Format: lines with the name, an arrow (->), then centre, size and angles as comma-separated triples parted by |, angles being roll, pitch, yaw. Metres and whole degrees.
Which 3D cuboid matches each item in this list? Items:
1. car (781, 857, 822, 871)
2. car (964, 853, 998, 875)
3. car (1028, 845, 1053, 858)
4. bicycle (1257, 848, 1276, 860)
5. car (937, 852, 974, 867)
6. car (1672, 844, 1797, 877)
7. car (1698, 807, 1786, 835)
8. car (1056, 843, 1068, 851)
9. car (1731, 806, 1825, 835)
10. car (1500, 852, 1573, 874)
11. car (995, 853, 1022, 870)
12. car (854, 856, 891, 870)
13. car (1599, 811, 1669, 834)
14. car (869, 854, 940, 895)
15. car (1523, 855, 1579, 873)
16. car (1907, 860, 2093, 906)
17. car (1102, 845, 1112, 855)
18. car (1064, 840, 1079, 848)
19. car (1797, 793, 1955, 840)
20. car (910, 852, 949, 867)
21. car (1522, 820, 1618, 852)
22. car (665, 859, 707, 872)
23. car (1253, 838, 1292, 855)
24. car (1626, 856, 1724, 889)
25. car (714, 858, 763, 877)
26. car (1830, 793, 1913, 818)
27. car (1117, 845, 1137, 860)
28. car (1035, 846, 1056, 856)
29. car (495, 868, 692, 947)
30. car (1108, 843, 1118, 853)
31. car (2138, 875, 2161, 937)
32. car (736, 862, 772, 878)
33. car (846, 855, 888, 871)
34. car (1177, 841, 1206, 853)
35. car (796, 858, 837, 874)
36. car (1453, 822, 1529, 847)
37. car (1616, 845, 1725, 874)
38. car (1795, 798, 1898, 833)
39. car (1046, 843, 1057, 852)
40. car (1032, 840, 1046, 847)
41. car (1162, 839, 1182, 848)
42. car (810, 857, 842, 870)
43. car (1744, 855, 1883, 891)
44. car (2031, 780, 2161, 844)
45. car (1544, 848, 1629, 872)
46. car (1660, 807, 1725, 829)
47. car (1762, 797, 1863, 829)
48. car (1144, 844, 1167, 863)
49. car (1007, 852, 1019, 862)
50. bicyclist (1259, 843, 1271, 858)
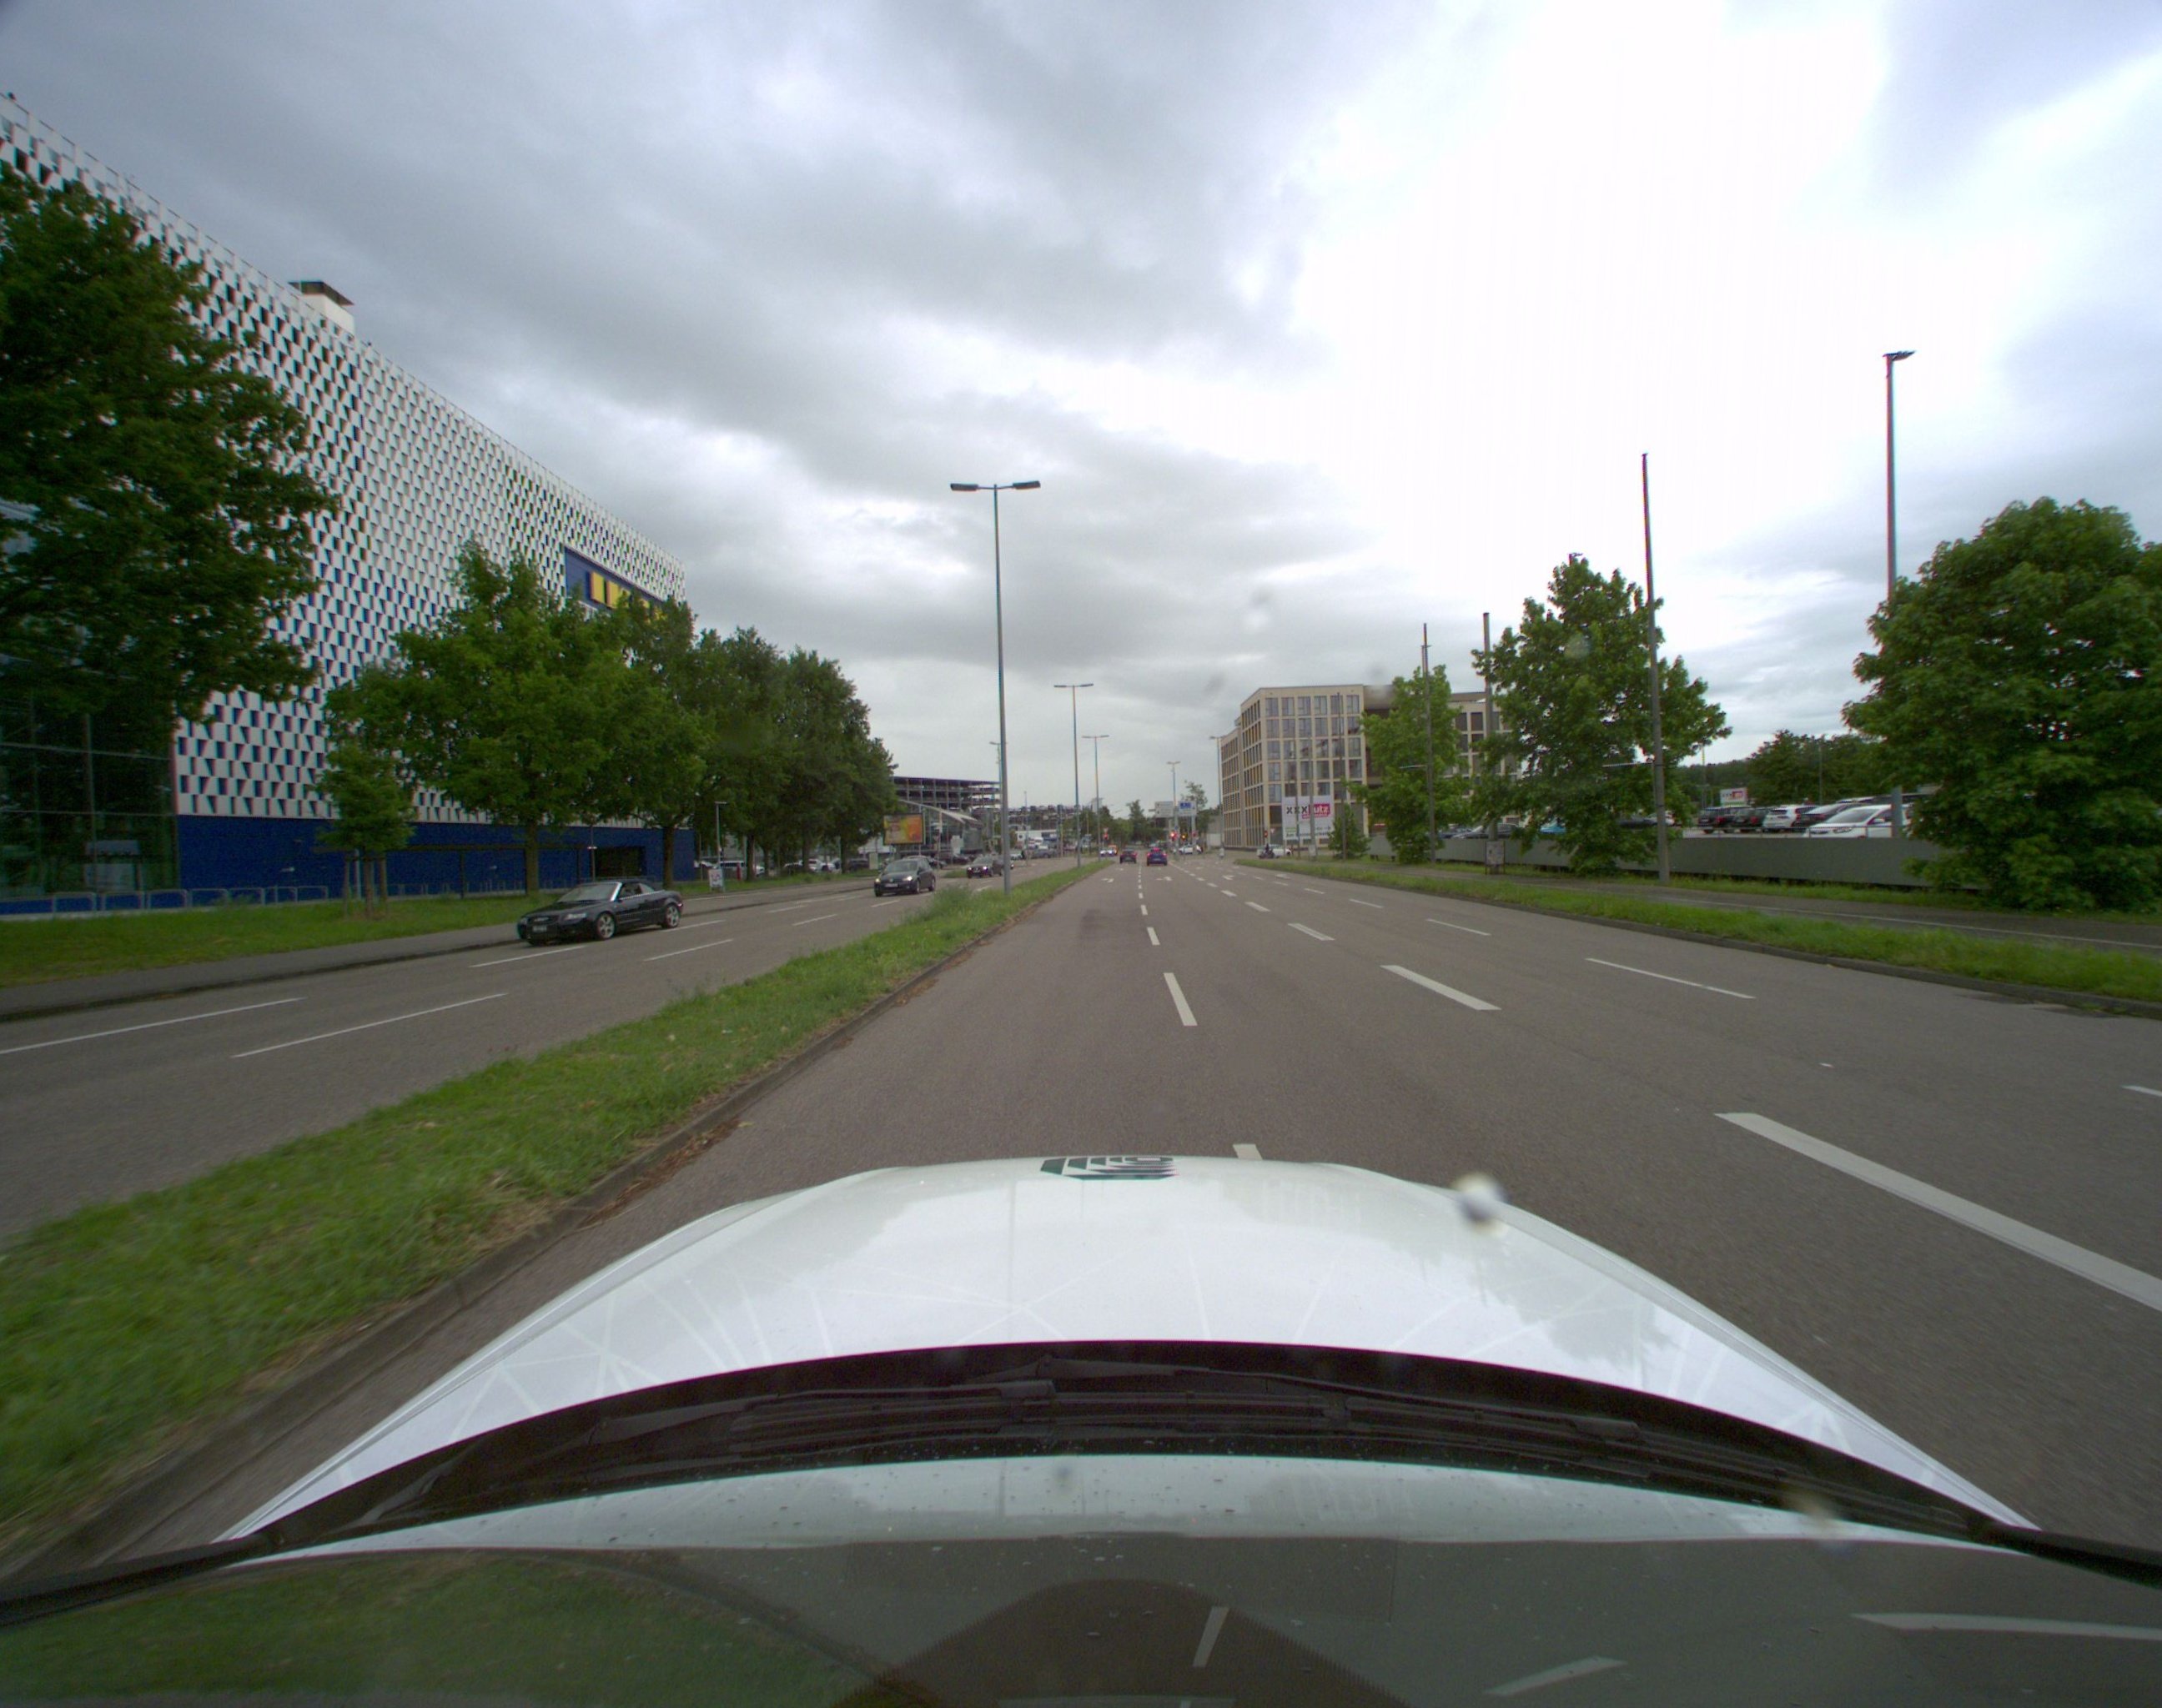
car -> -34.097, 1.168, 99.385 | 4.215, 1.512, 1.994 | -2, 1, -1
car -> -7.017, 0.695, 57.336 | 1.926, 1.455, 4.180 | -2, 0, -1
car -> -6.470, -0.424, 130.055 | 3.976, 1.790, 1.846 | -2, 2, -2
bicycle -> 19.596, 0.000, 85.988 | 0.705, 1.295, 1.990 | -2, 1, -33
car -> -16.416, 0.687, 106.676 | 4.391, 1.643, 1.999 | -2, 2, -2
car -> 24.532, 0.254, 30.649 | 3.500, 1.131, 1.456 | -1, 0, 2
car -> 40.420, -1.993, 49.837 | 3.824, 1.507, 1.787 | -2, 1, 6
car -> -4.099, -1.496, 174.079 | 1.766, 1.705, 3.926 | -2, 2, 8
car -> 40.366, -1.918, 47.216 | 3.824, 1.507, 1.787 | -2, 1, 6
car -> 31.286, 0.617, 56.048 | 4.038, 1.350, 1.765 | -1, 0, 2
car -> -7.161, 0.697, 80.387 | 1.782, 1.479, 4.538 | -4, 0, 5
car -> -26.402, 1.146, 103.309 | 4.239, 1.509, 1.998 | -2, 2, -4
car -> 40.520, -2.275, 59.750 | 3.824, 1.507, 1.787 | -2, 1, 6
car -> -7.307, 0.793, 34.116 | 1.773, 1.455, 4.185 | -4, 0, 2
car -> 37.510, 0.793, 65.097 | 3.604, 1.285, 1.461 | -2, 2, 4
car -> 29.816, 0.921, 26.509 | 4.040, 1.350, 1.764 | -1, 0, 0
car -> 4.269, -0.708, 133.415 | 1.593, 1.453, 3.328 | -2, 2, 4
car -> -2.145, -2.355, 183.903 | 3.284, 1.640, 1.480 | -2, 2, 0
car -> 24.729, -1.158, 25.400 | 3.505, 1.307, 1.605 | -2, 2, -3
car -> -18.564, 0.639, 99.757 | 4.407, 1.660, 1.997 | -2, 0, -4
car -> 25.919, -0.953, 43.242 | 4.056, 1.524, 1.811 | -2, 2, -2
car -> -49.816, 1.442, 102.746 | 4.215, 1.504, 1.994 | -2, 1, -1
car -> 21.903, -0.836, 92.917 | 4.196, 1.752, 1.979 | -2, 0, -33
car -> 35.555, 1.064, 48.850 | 4.347, 1.832, 2.002 | -1, 0, 4
car -> -41.798, 1.638, 99.424 | 5.117, 1.963, 1.880 | -2, 4, -1
car -> 51.160, -3.132, 52.749 | 3.613, 1.495, 1.705 | -2, 2, 6
car -> 4.787, -0.108, 85.533 | 1.980, 1.428, 4.242 | -2, -1, 1
car -> -6.175, -0.549, 140.790 | 3.595, 1.667, 1.548 | -2, 2, -2
car -> -11.566, 1.198, 19.751 | 1.764, 1.452, 4.411 | -4, 0, 5
car -> 5.518, -1.068, 141.511 | 1.593, 1.453, 3.328 | -2, 2, 4
car -> 29.623, 1.294, 20.346 | 4.038, 1.551, 1.764 | -1, 0, 2
car -> -41.364, 2.032, 103.035 | 3.748, 1.746, 1.880 | -2, 2, -1
car -> -26.158, 1.089, 99.517 | 4.534, 1.659, 1.998 | -3, 1, -4
car -> 15.903, -1.040, 117.436 | 3.935, 1.567, 1.758 | -2, 2, -4
car -> -33.350, 1.482, 102.829 | 4.422, 1.711, 1.999 | -2, 4, -3
car -> 25.356, -1.216, 50.453 | 3.859, 1.384, 1.721 | -2, 2, 1
car -> 25.055, 0.212, 34.678 | 3.500, 1.131, 1.517 | -1, 0, 2
car -> 39.517, -1.987, 42.107 | 3.613, 1.632, 1.705 | -2, 2, 6
car -> -6.279, -1.424, 174.144 | 1.766, 1.705, 3.926 | -2, 2, 8
car -> -10.568, -2.698, 205.304 | 3.655, 1.528, 1.612 | -2, 2, -4
car -> 17.898, -2.046, 160.025 | 3.571, 1.478, 1.770 | -1, 2, 23
car -> -35.115, 1.322, 112.238 | 3.847, 1.634, 1.723 | -2, 2, -3
car -> 30.106, 0.771, 33.566 | 4.036, 1.350, 1.765 | -1, 0, 3
car -> 24.420, -0.996, 18.310 | 4.039, 1.350, 1.764 | -2, 2, 1
car -> 30.708, 0.369, 49.578 | 4.037, 1.350, 1.765 | -1, 0, 3
car -> 50.989, -2.990, 67.960 | 3.970, 1.578, 1.868 | -2, 0, 3
car -> 40.236, -2.241, 44.869 | 3.825, 1.507, 1.786 | -2, 1, 4
car -> 6.646, -0.063, 72.677 | 1.827, 1.514, 4.004 | -2, 1, 3
car -> -10.488, 0.461, 125.404 | 1.371, 1.326, 3.023 | -2, 2, -11
bicyclist -> 19.456, -0.377, 86.168 | 0.705, 1.504, 0.990 | -2, 1, -33
